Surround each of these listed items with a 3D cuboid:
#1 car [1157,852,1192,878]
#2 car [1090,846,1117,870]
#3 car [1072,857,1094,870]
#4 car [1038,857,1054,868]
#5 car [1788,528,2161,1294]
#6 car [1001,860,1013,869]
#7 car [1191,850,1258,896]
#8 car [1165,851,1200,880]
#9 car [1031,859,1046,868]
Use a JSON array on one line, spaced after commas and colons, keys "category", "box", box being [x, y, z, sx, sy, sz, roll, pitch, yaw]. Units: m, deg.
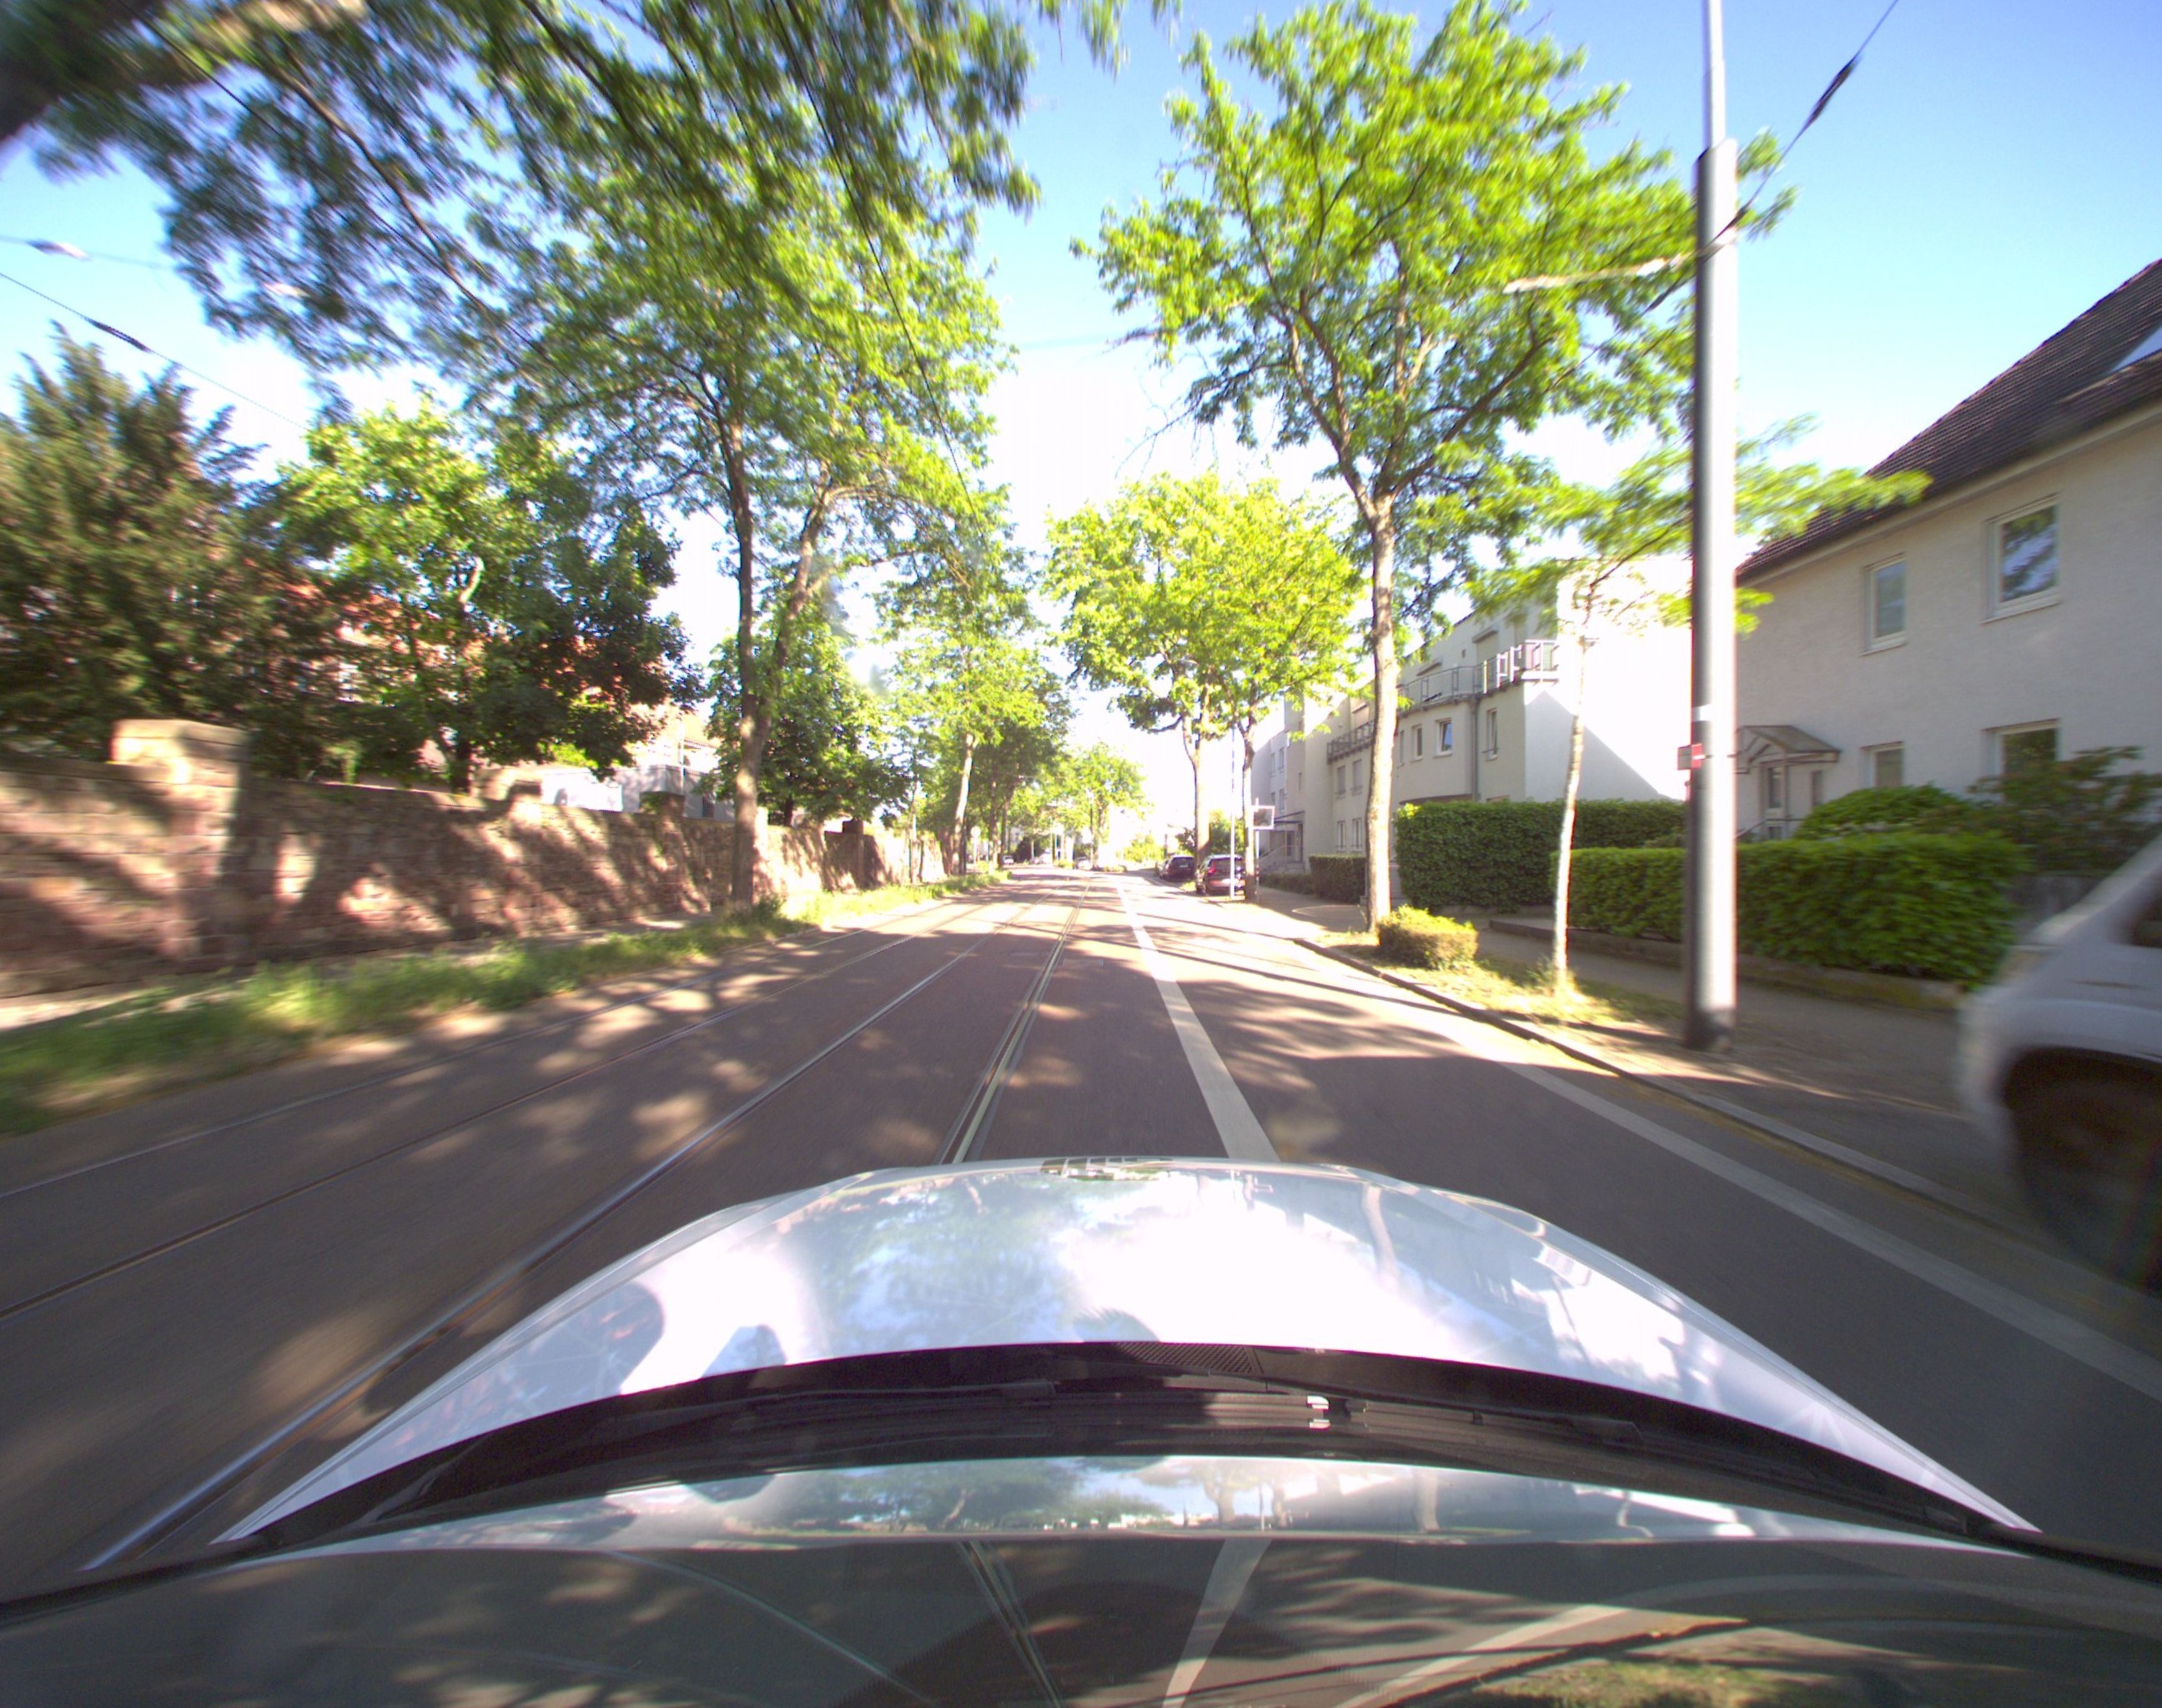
[{"category": "car", "box": [6.452, 0.744, 56.761, 1.996, 1.675, 4.393, -2, 0, 1]}, {"category": "car", "box": [2.350, 0.464, 86.905, 1.995, 2.458, 4.491, -1, 0, -11]}, {"category": "car", "box": [0.235, 1.232, 104.845, 2.003, 1.560, 4.376, -1, 0, -11]}, {"category": "car", "box": [-6.676, 1.654, 154.842, 2.007, 1.910, 4.368, -2, 0, -16]}, {"category": "car", "box": [4.825, 0.174, 1.495, 2.237, 2.654, 5.587, -2, 0, 1]}, {"category": "car", "box": [-14.095, 2.021, 155.358, 1.866, 1.675, 4.159, -1, 0, -10]}, {"category": "car", "box": [5.784, 0.728, 33.355, 1.995, 1.675, 4.393, -2, 0, 1]}, {"category": "car", "box": [6.252, 0.706, 50.764, 1.993, 1.675, 4.399, -2, 0, 5]}, {"category": "car", "box": [-8.372, 1.937, 160.802, 2.007, 1.675, 4.150, -2, 0, -16]}]
